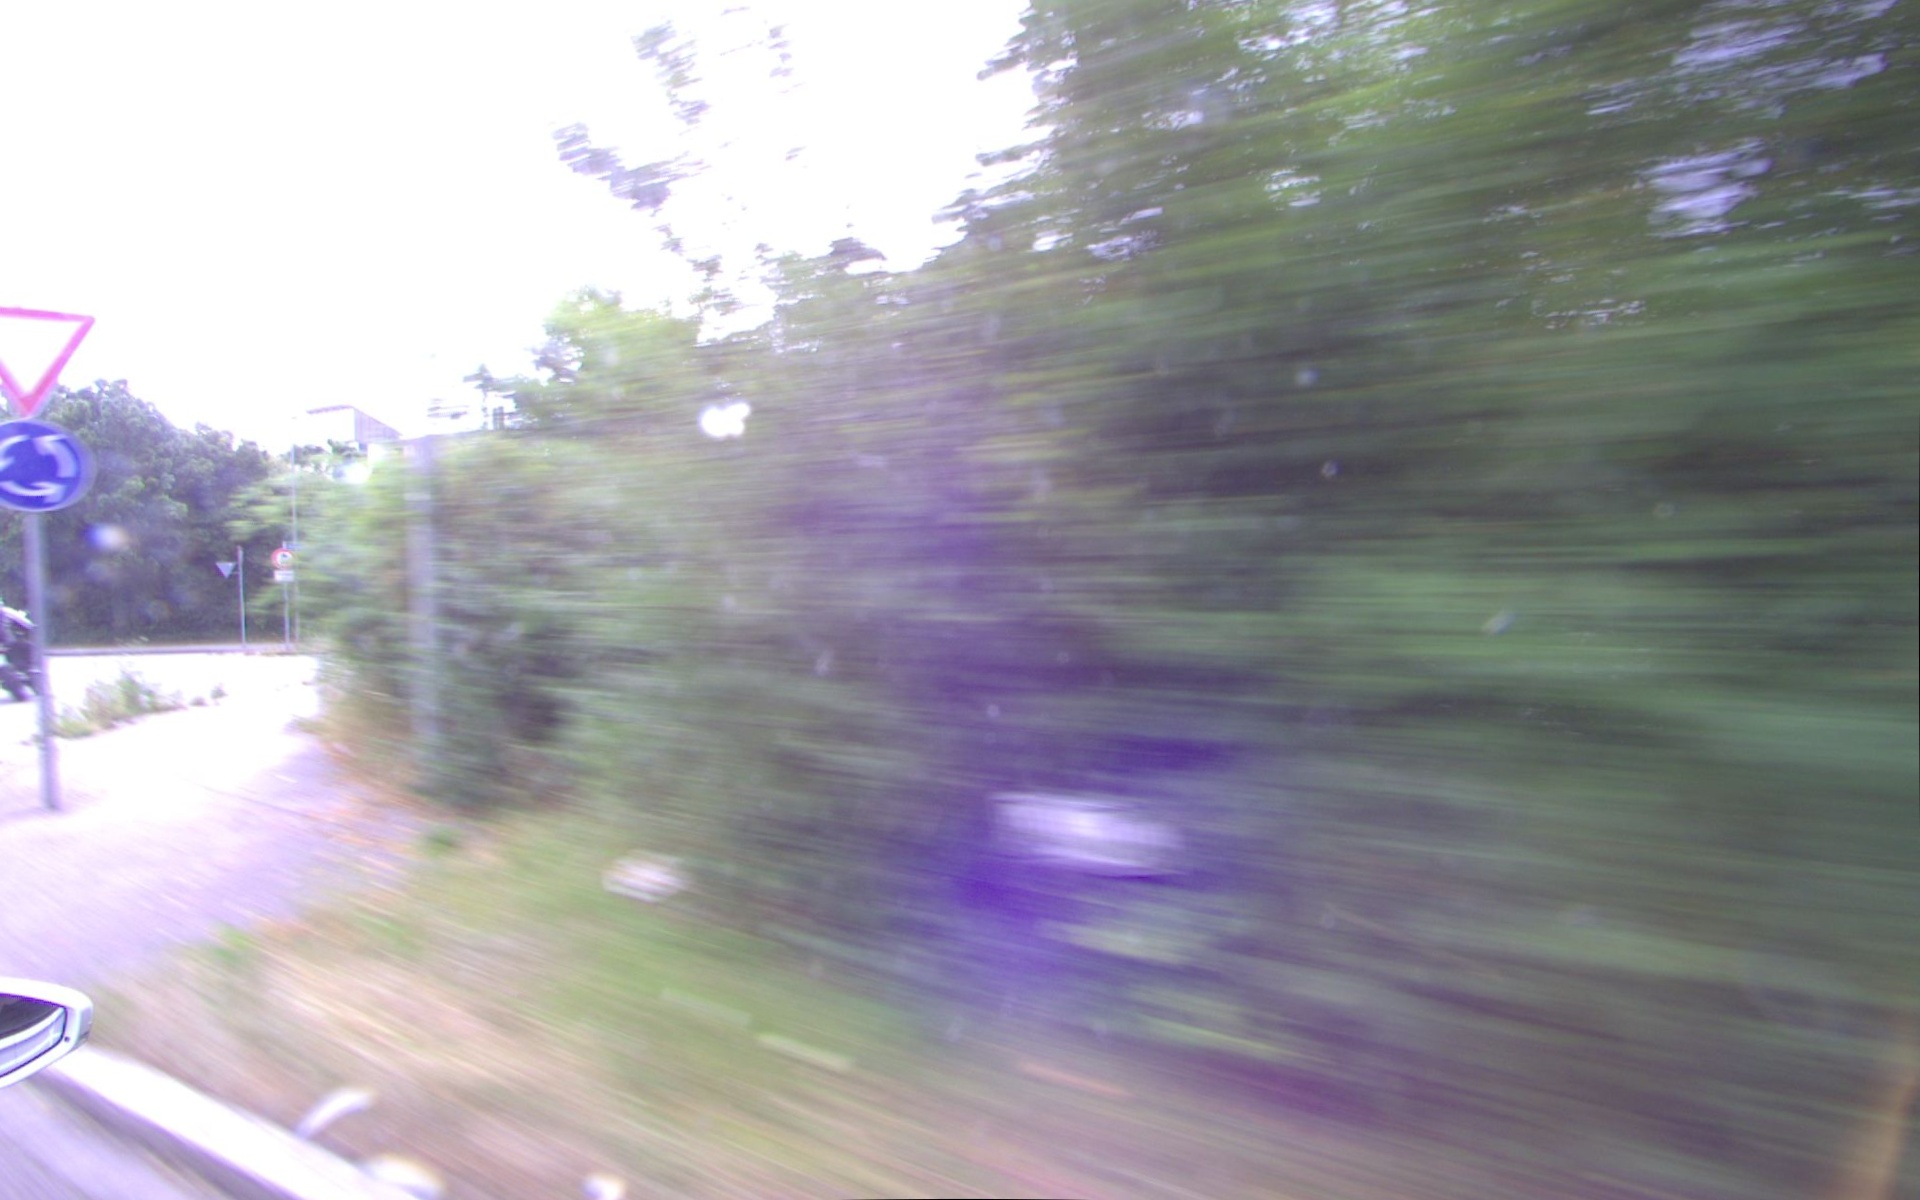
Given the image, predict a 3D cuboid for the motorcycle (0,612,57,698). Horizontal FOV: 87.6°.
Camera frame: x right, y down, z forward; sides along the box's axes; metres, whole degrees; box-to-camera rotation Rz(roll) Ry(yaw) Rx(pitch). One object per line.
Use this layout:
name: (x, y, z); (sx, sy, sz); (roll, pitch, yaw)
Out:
motorcycle: (-14.439, 0.797, 15.202); (0.889, 1.173, 2.599); (-1, 1, -38)

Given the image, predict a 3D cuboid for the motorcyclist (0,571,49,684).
motorcyclist: (-14.430, 0.402, 15.139); (0.854, 1.645, 1.181); (-1, 1, -39)
